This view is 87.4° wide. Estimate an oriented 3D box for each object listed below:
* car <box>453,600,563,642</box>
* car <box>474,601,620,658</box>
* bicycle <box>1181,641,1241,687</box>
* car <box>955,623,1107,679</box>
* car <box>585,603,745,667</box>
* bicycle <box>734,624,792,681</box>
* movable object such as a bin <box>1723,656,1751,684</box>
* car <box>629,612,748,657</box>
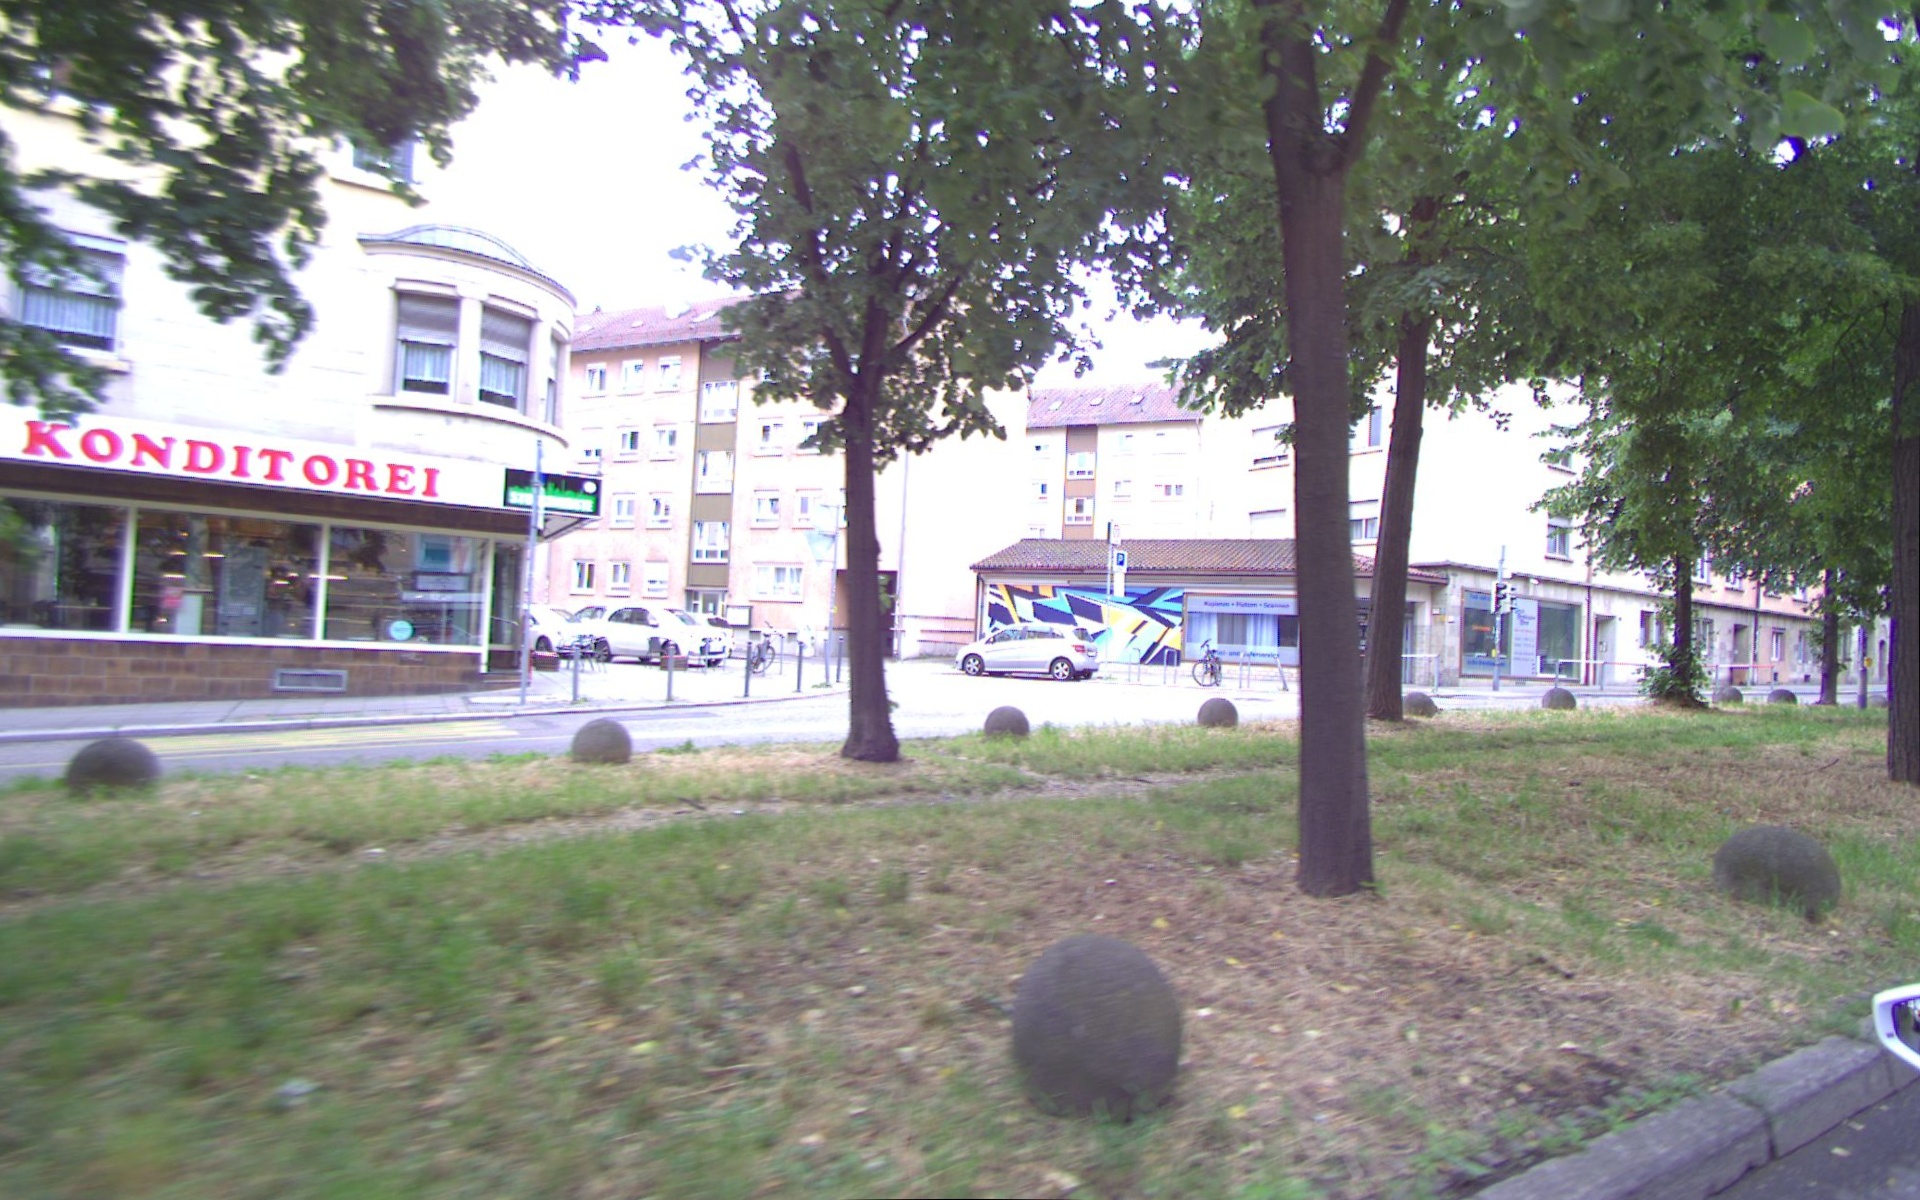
[{"bbox_3d":[-17.328,0.811,38.497,3.828,1.498,1.794,0,-3,27],"label":"car"},{"bbox_3d":[-11.683,0.830,28.409,3.697,1.531,1.820,0,-3,27],"label":"car"},{"bbox_3d":[6.583,1.665,26.308,0.752,1.099,2.029,2,-1,37],"label":"bicycle"},{"bbox_3d":[2.029,1.508,28.890,3.967,1.498,1.820,-3,-4,27],"label":"car"},{"bbox_3d":[-7.619,0.897,25.934,3.697,1.531,1.820,0,-3,27],"label":"car"},{"bbox_3d":[-4.198,1.100,21.641,0.851,1.060,2.458,2,0,-3],"label":"bicycle"},{"bbox_3d":[31.100,2.815,40.201,0.683,1.073,0.687,4,-2,-36],"label":"movable object such as a bin"},{"bbox_3d":[-9.535,1.216,35.282,3.828,1.498,1.794,0,-3,27],"label":"car"}]
